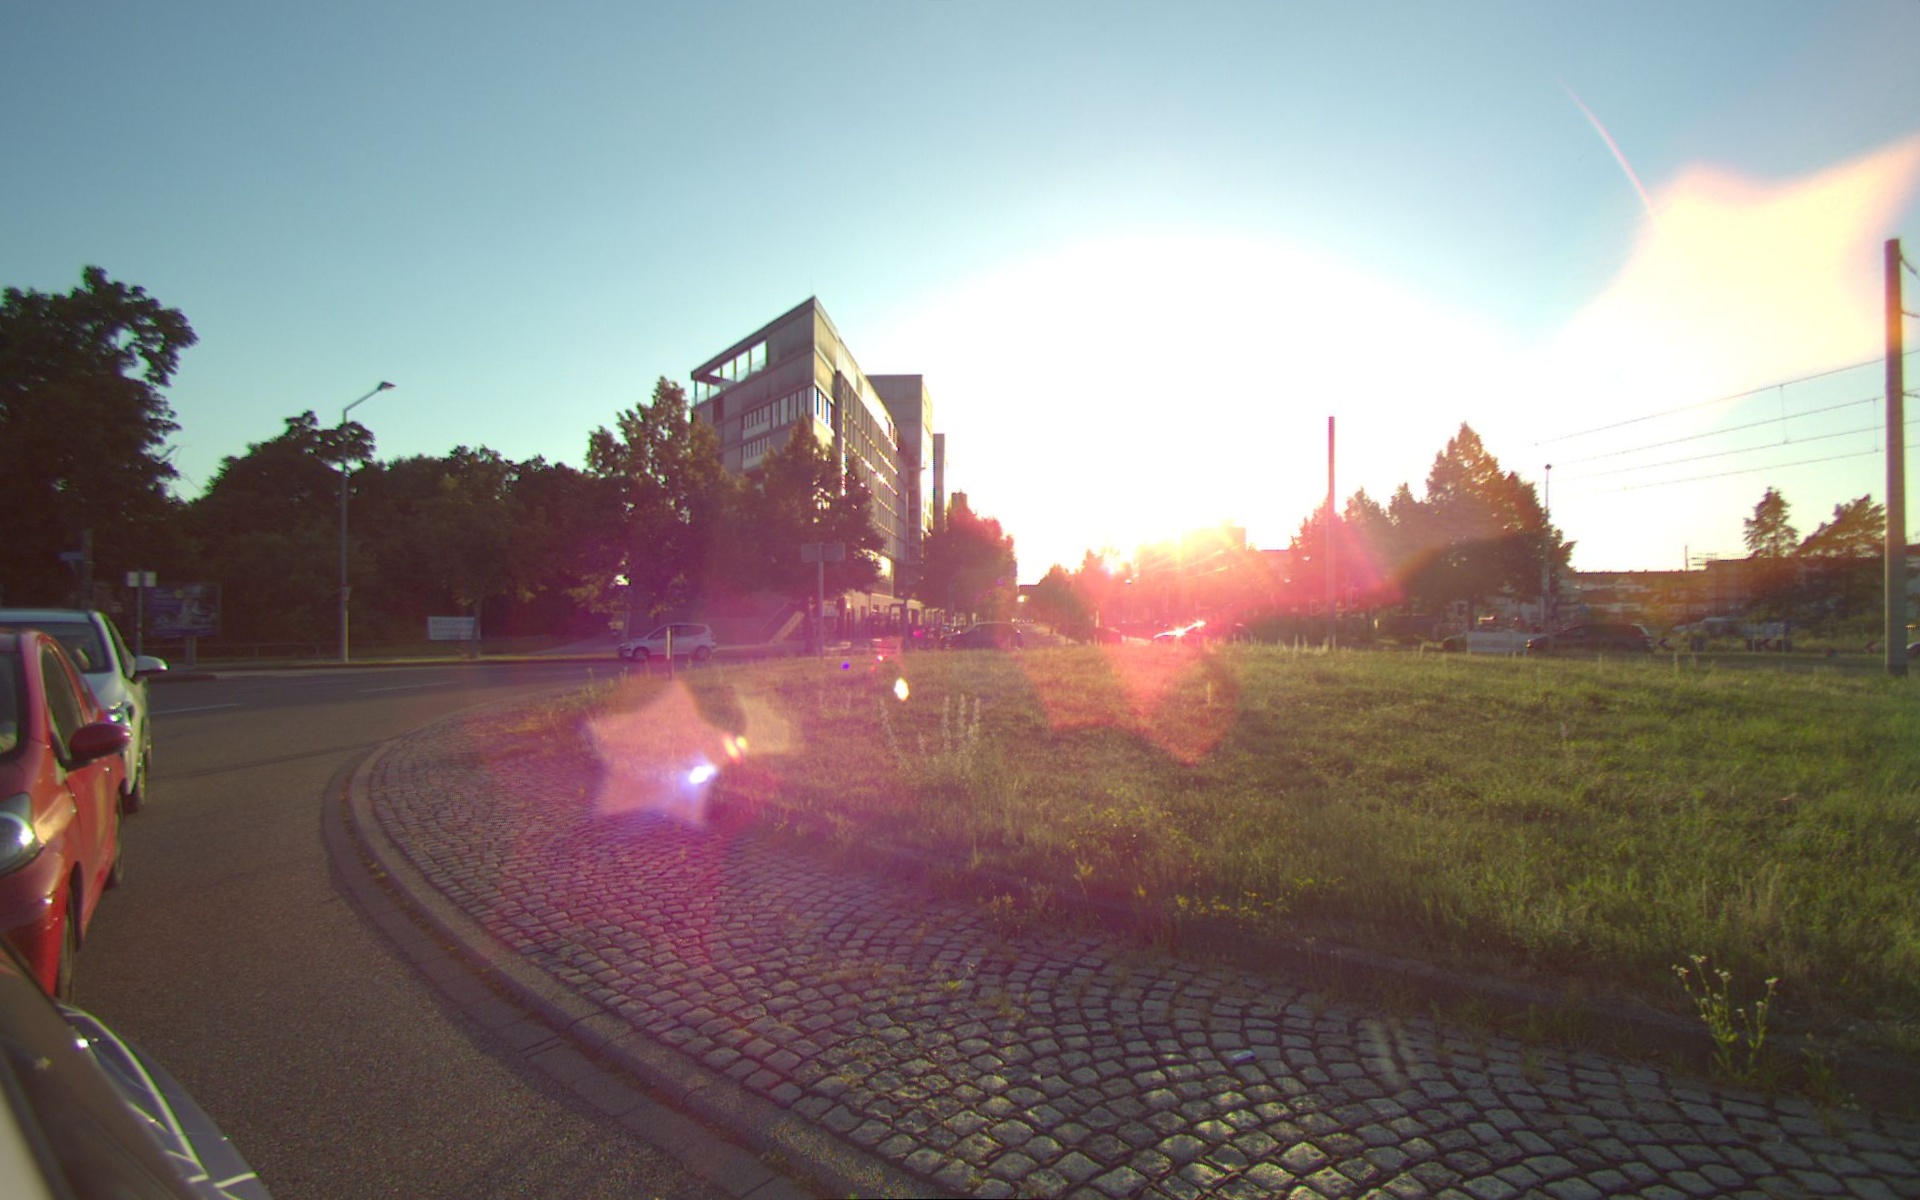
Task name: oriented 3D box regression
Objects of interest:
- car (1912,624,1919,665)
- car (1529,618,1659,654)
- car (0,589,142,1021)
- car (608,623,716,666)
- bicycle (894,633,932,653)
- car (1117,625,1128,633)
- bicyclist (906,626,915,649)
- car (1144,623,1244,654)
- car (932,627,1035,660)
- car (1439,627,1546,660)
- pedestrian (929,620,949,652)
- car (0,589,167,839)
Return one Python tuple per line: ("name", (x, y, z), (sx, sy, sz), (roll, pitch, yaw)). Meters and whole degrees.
("car", (34.481, 1.485, 33.095), (1.863, 1.402, 4.511), (0, -1, -29))
("car", (26.375, 1.470, 42.166), (4.381, 1.386, 1.973), (-1, -2, 40))
("car", (-4.904, 0.710, 4.582), (1.662, 1.431, 4.009), (1, -1, -36))
("car", (-11.833, 1.728, 40.179), (3.825, 1.592, 1.961), (0, -1, -27))
("bicycle", (-2.903, 2.669, 63.005), (2.315, 1.254, 0.742), (0, -1, 0))
("car", (33.134, 5.826, 206.065), (1.975, 1.539, 4.338), (0, -1, 6))
("bicyclist", (-3.083, 2.345, 63.027), (0.602, 1.451, 0.692), (0, -1, -2))
("car", (10.931, 1.795, 47.508), (4.299, 1.386, 1.996), (0, -1, 6))
("car", (1.049, 1.956, 46.017), (4.311, 1.386, 2.005), (0, -1, -13))
("car", (27.399, 2.208, 52.185), (1.966, 1.591, 4.497), (1, -1, -33))
("pedestrian", (-1.360, 2.298, 64.663), (0.995, 2.029, 0.768), (-1, 0, 29))
("car", (-7.778, 0.778, 8.006), (1.970, 1.618, 4.202), (1, -2, -44))
